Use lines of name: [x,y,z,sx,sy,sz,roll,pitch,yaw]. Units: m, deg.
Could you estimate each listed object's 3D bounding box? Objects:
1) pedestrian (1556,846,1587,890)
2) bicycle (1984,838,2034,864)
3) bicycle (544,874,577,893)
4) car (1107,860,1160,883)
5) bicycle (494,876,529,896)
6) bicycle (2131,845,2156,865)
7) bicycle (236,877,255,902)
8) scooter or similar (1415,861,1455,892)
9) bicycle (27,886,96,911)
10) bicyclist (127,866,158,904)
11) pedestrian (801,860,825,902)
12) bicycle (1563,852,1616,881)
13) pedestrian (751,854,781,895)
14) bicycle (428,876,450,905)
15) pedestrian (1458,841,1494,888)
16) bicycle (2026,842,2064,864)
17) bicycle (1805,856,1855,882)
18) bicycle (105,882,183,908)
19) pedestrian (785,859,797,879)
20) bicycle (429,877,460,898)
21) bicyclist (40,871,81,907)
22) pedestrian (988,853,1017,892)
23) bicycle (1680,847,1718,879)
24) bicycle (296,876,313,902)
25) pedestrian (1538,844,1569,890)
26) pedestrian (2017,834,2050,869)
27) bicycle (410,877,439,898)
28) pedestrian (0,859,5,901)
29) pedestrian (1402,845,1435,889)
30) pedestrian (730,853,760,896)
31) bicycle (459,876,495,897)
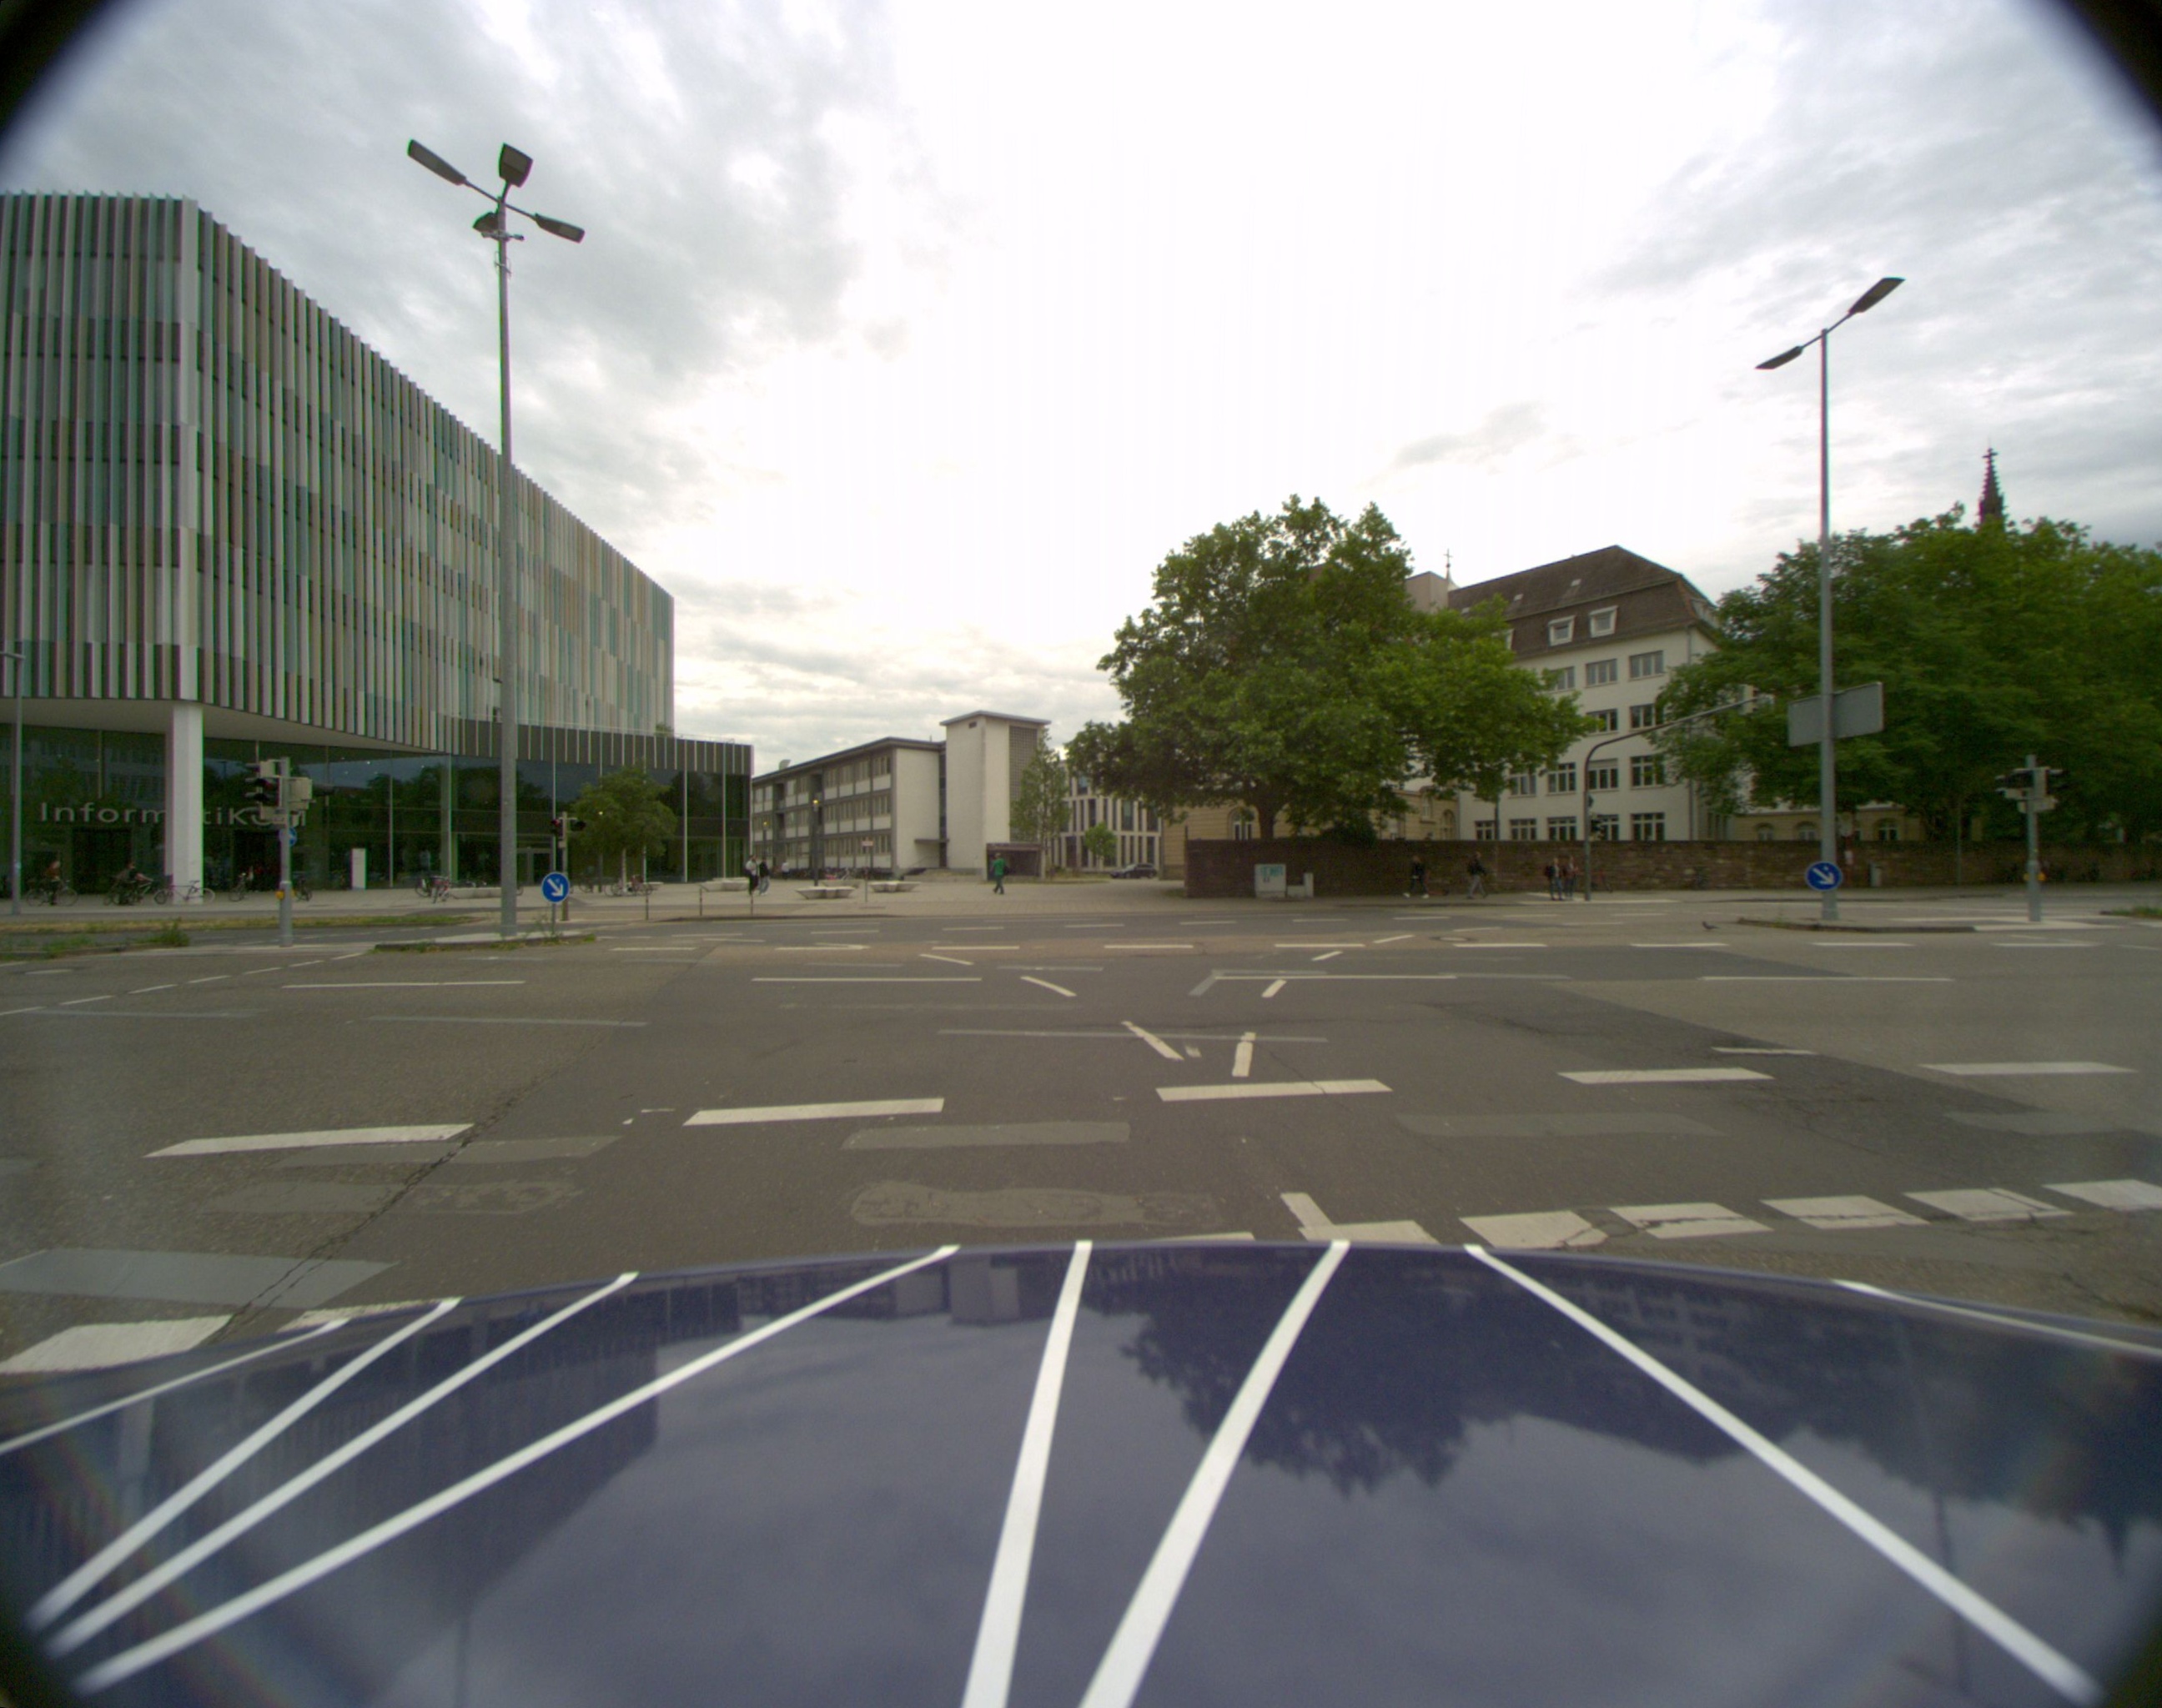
pedestrian: [18.773,0.524,29.081,0.642,1.684,0.779,-1,1,-7]
bicycle: [47.097,-0.158,38.555,2.544,1.258,0.664,-1,1,-17]
bicycle: [-26.890,1.532,39.243,2.005,0.930,0.485,0,1,25]
car: [4.683,1.520,67.887,4.411,1.570,1.998,-2,-10,-40]
bicycle: [-28.010,1.565,37.347,2.005,0.930,0.485,0,1,25]
bicycle: [62.769,0.044,44.892,2.251,1.141,0.507,-1,2,-27]
bicycle: [-36.397,1.544,33.109,1.911,1.039,0.485,-1,0,45]
scooter or similar: [14.537,0.916,31.248,1.411,1.223,0.495,0,2,12]
bicycle: [-39.467,1.718,29.425,1.914,0.920,0.619,-1,0,3]
bicyclist: [-37.270,1.226,30.174,0.483,1.460,0.606,-1,0,11]
pedestrian: [-10.759,1.094,30.528,0.623,1.656,0.620,-2,0,41]
bicycle: [21.654,0.529,32.347,2.157,1.178,0.582,-1,1,-15]
pedestrian: [-13.603,0.877,32.827,0.892,1.777,0.848,-1,0,42]
bicycle: [-25.194,1.418,29.834,0.485,1.039,1.779,-1,1,-35]
pedestrian: [15.435,0.408,29.714,1.007,1.779,0.757,-1,1,-7]
bicycle: [50.692,-0.061,39.969,2.250,1.141,0.507,-1,2,-19]
bicycle: [34.830,0.671,35.338,2.157,1.141,0.664,-1,1,-17]
bicycle: [-37.262,1.613,30.252,0.483,0.920,1.918,-1,0,11]
pedestrian: [-26.933,1.382,70.618,0.778,1.778,0.759,0,0,-40]
bicycle: [-29.920,1.553,35.728,2.004,0.930,0.550,0,1,33]
bicyclist: [-39.524,1.354,29.426,0.718,1.374,0.619,-1,0,3]
pedestrian: [-3.452,0.814,33.366,0.904,1.704,0.953,-2,-1,21]
bicycle: [27.621,0.390,33.963,2.590,1.372,0.668,-1,0,-36]
bicycle: [-33.349,1.495,32.650,1.911,1.039,0.485,0,1,45]
pedestrian: [18.074,0.473,29.072,0.670,1.729,0.735,-1,1,-9]
pedestrian: [47.306,-0.116,37.727,0.774,1.749,0.790,0,0,-19]
bicycle: [-30.383,1.543,35.147,2.004,0.930,0.485,0,1,33]
pedestrian: [-46.548,1.117,32.190,0.762,1.778,0.802,0,0,-5]
pedestrian: [13.363,0.500,30.093,0.809,1.657,0.790,-1,7,-6]
pedestrian: [-14.197,0.871,32.094,0.892,1.778,0.848,-1,0,41]
bicycle: [-28.844,1.545,36.285,2.005,0.930,0.485,0,1,25]
